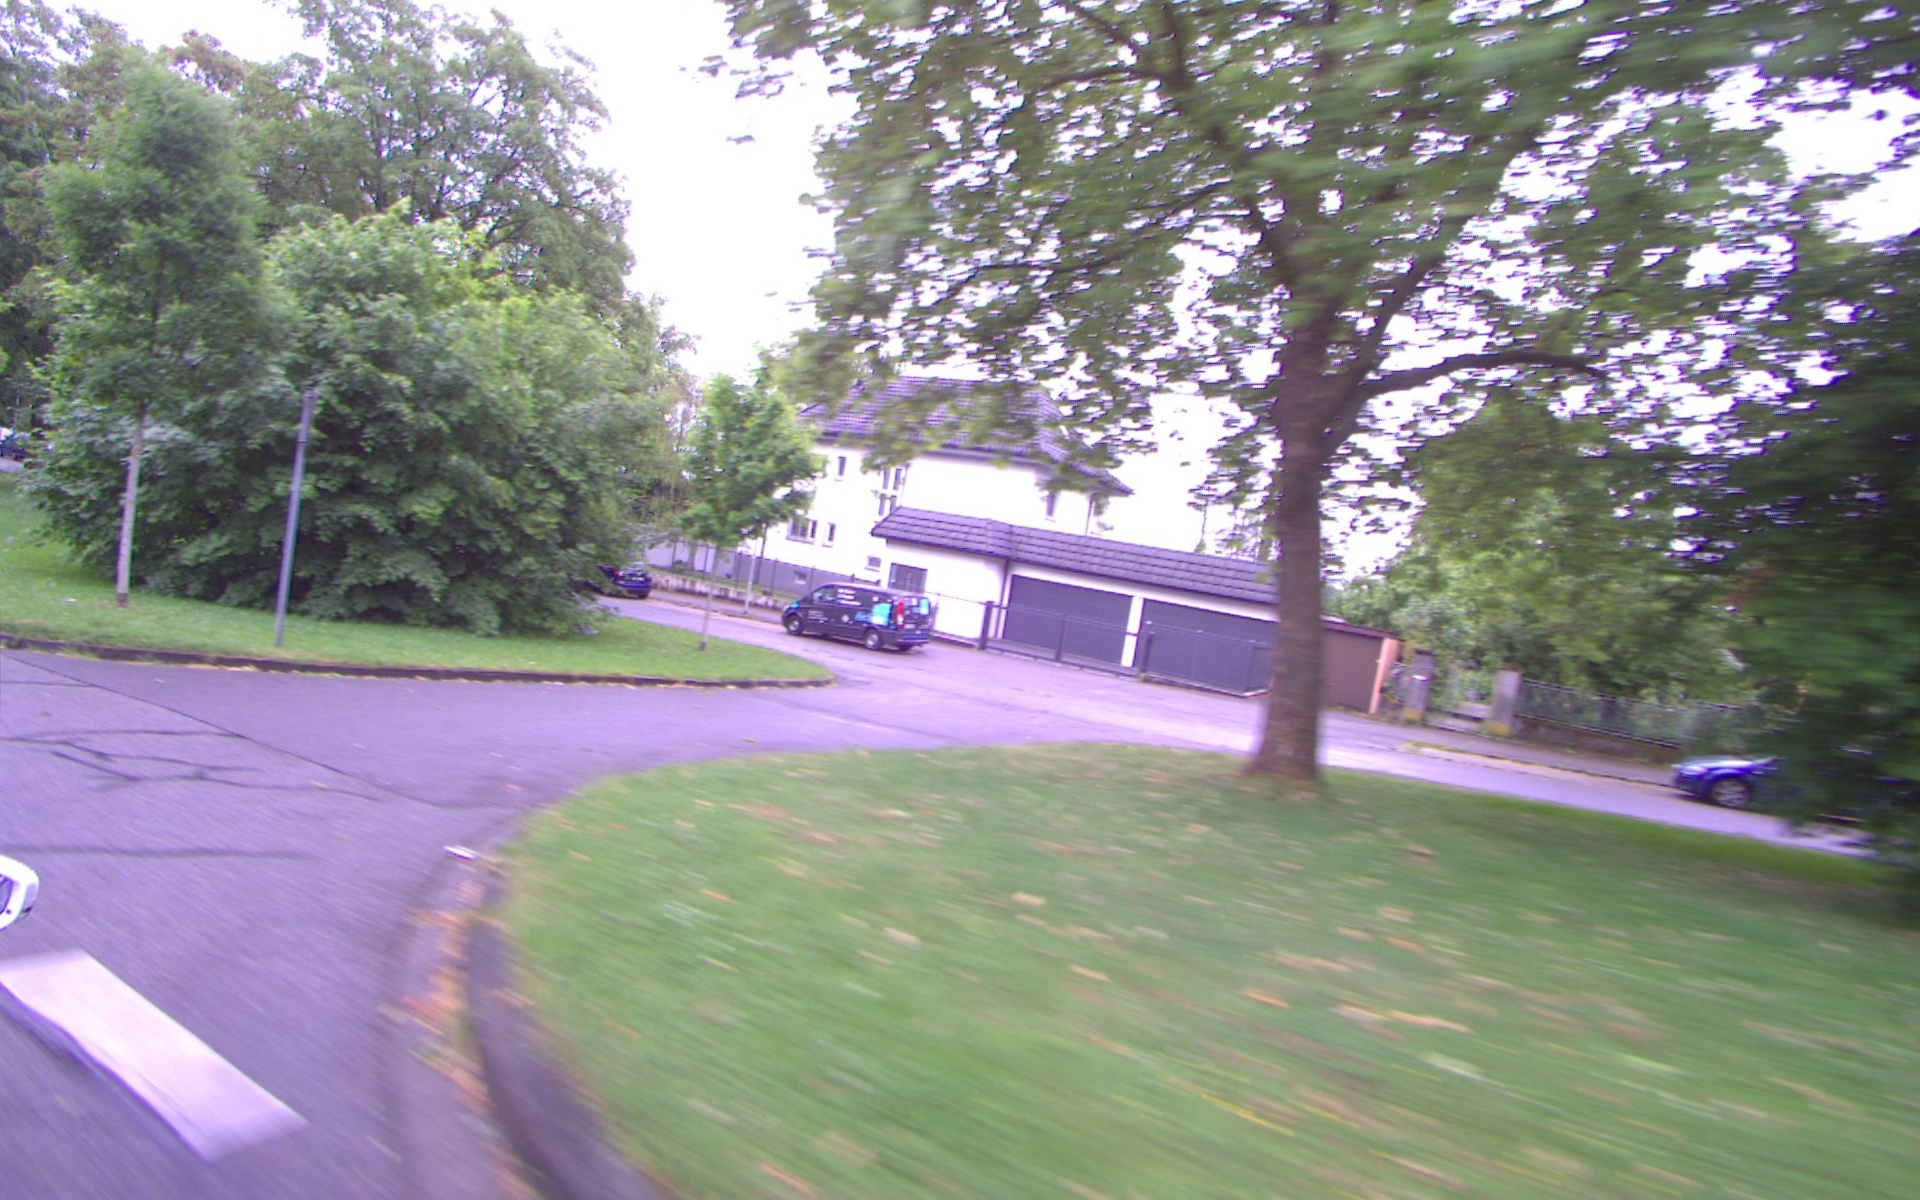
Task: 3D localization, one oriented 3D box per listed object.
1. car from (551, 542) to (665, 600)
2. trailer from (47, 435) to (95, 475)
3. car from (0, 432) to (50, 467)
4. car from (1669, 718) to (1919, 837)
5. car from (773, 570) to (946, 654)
[{"bbox_3d":[-13.313,-1.095,38.037,3.968,1.645,1.903,8,2,32],"label":"car"},{"bbox_3d":[-58.230,-9.490,65.882,2.900,2.184,1.436,10,5,30],"label":"trailer"},{"bbox_3d":[-66.004,-10.604,70.662,4.571,1.834,1.941,12,5,32],"label":"car"},{"bbox_3d":[16.166,3.345,19.272,3.996,1.499,1.644,6,2,32],"label":"car"},{"bbox_3d":[-3.196,0.359,31.692,4.985,1.903,2.160,8,2,32],"label":"car"}]
